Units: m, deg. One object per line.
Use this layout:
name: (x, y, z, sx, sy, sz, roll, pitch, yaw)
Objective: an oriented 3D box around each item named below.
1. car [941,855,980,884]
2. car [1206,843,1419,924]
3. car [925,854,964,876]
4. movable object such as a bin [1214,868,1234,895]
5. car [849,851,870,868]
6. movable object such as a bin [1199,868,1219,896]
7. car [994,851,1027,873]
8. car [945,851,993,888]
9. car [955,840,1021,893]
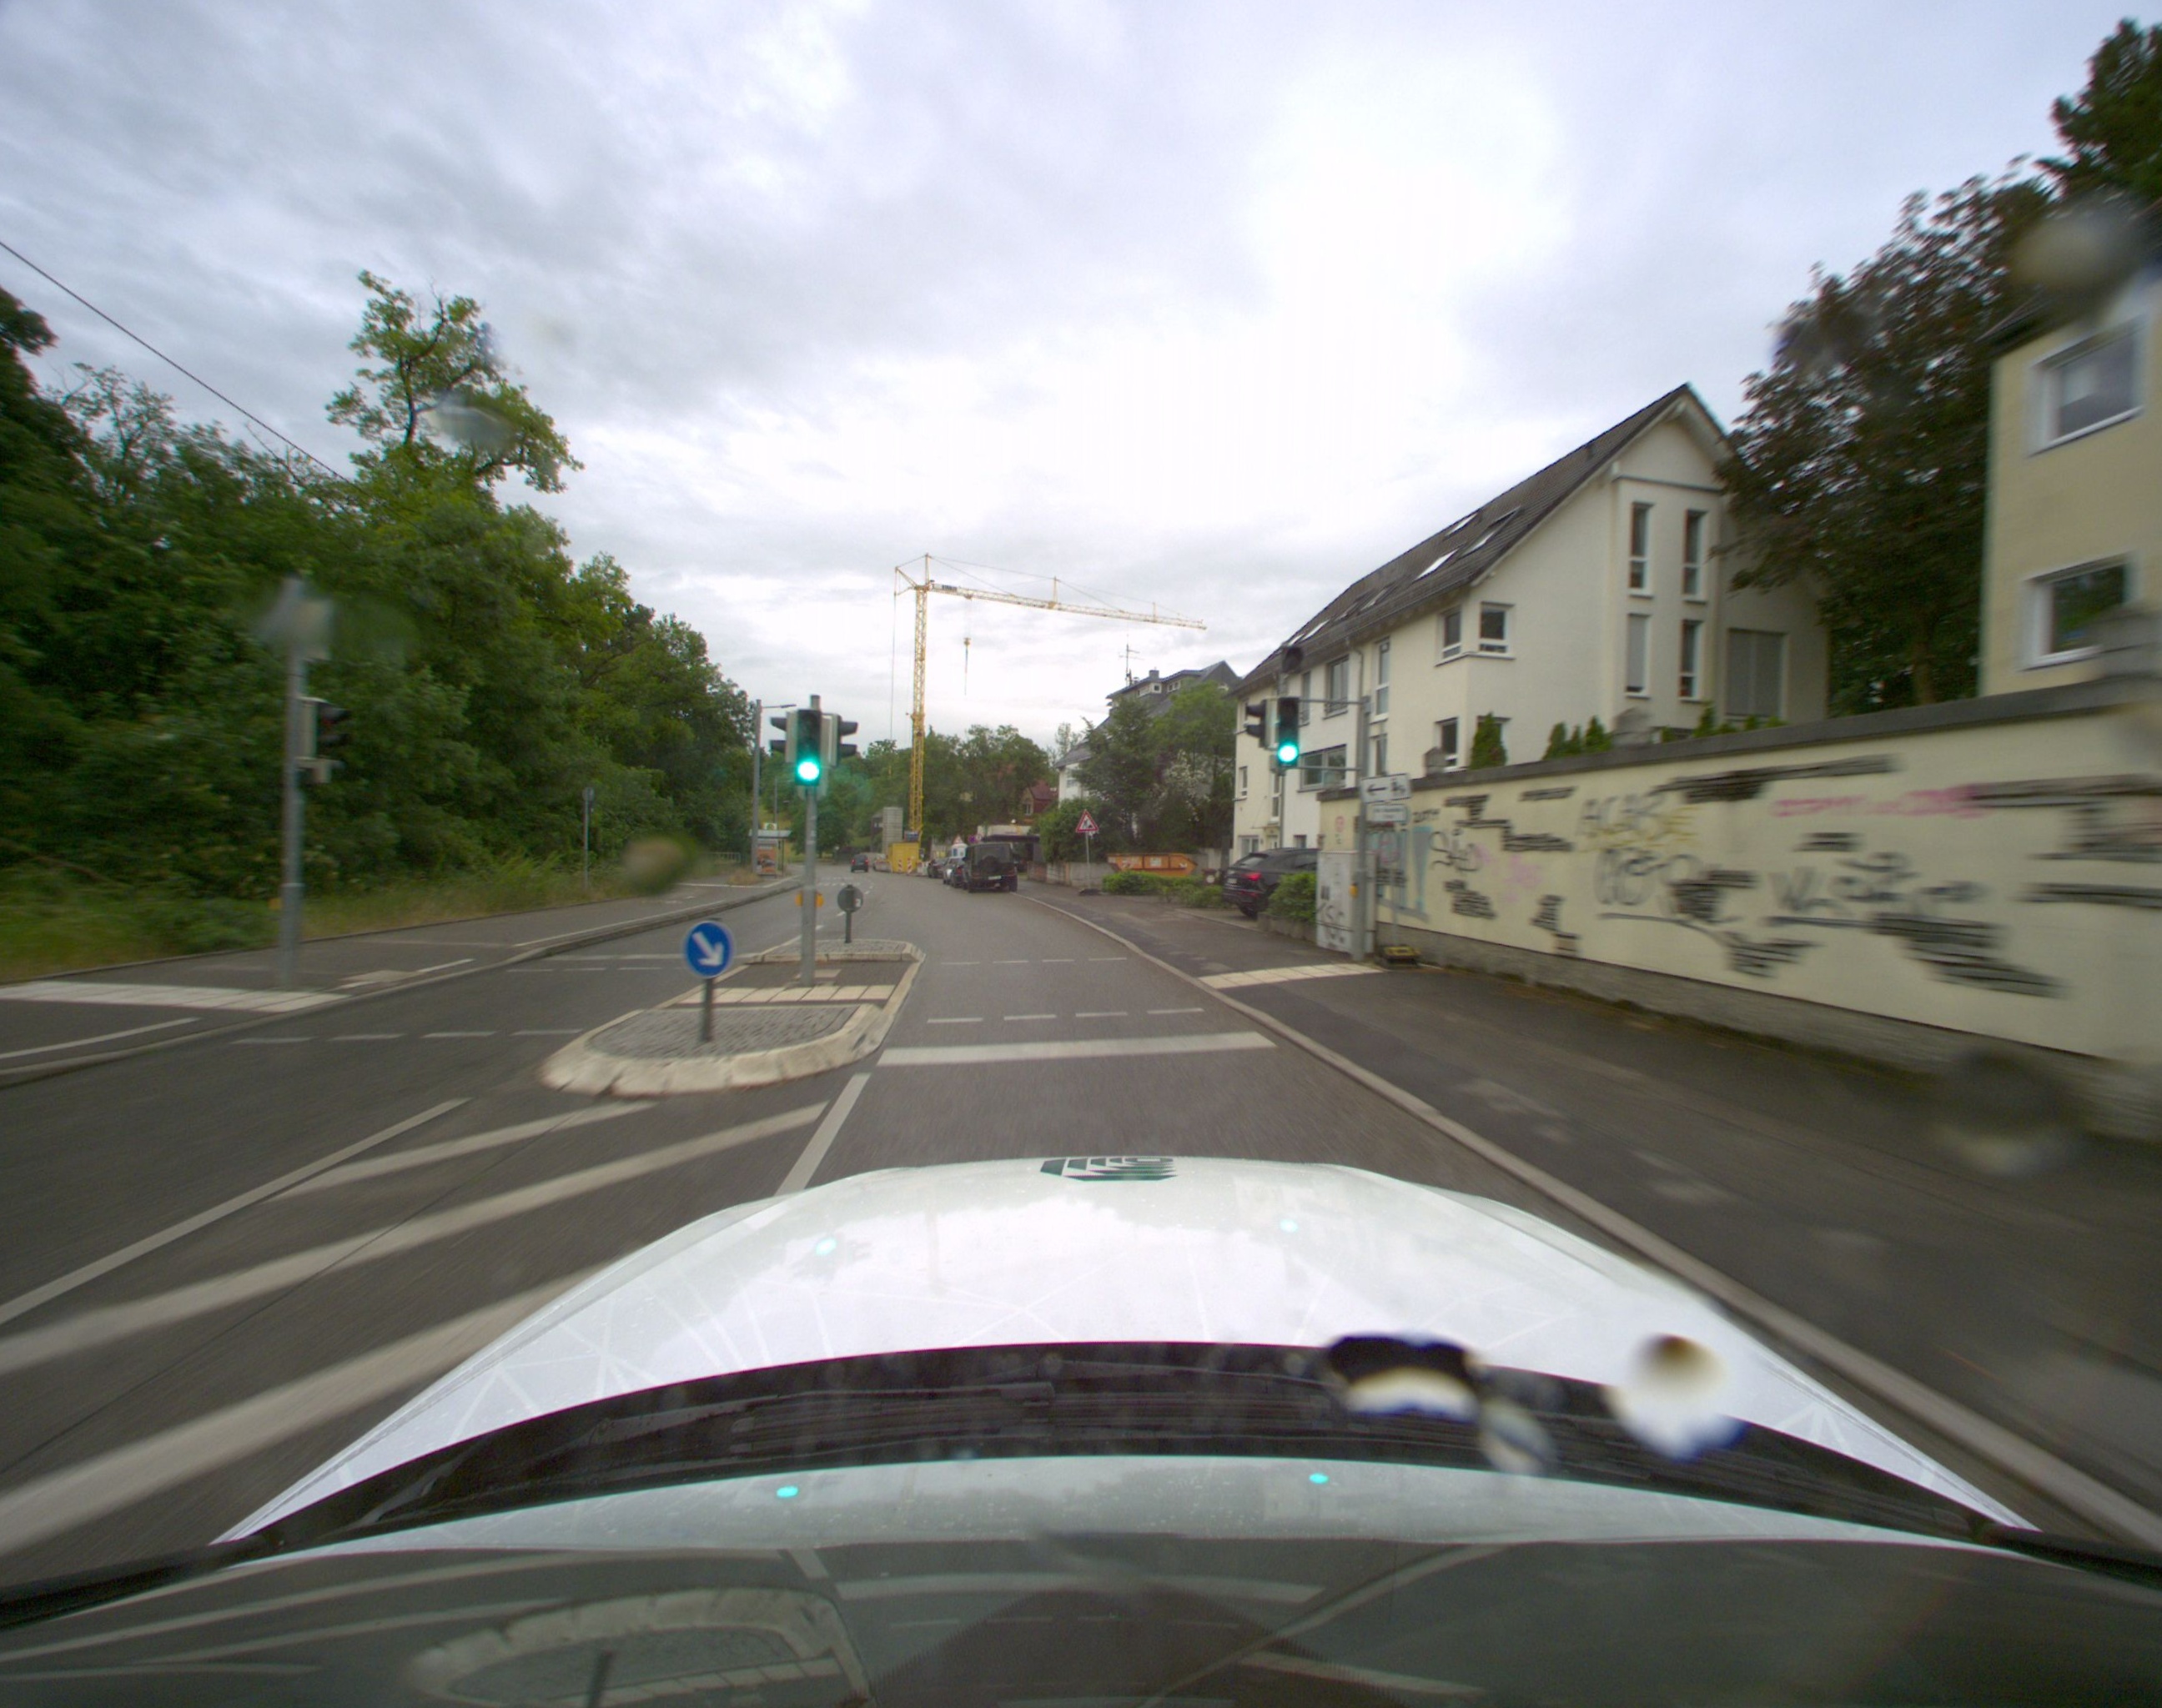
car: (-6.406, 0.815, 43.081, 1.676, 1.457, 3.368, -1, 0, -15)
car: (5.346, 0.684, 19.001, 4.331, 1.596, 1.984, 3, -1, -12)
car: (-9.573, 0.756, 56.820, 1.938, 1.422, 4.806, 0, 0, -19)
movable object such as a bin: (5.060, 0.961, 28.829, 0.507, 0.911, 0.593, 0, 0, -14)
car: (-23.309, 0.551, 85.623, 1.937, 1.751, 3.977, 0, 0, -17)
movable object such as a bin: (4.504, 0.976, 28.687, 0.507, 0.941, 0.593, 0, 0, -14)
car: (-5.319, 0.605, 61.023, 1.698, 1.472, 3.979, 3, -1, -15)
car: (-5.424, 0.729, 39.030, 1.933, 1.596, 4.376, -2, 0, -12)
car: (-4.005, 0.488, 34.187, 1.997, 2.013, 4.931, -2, 0, -15)
